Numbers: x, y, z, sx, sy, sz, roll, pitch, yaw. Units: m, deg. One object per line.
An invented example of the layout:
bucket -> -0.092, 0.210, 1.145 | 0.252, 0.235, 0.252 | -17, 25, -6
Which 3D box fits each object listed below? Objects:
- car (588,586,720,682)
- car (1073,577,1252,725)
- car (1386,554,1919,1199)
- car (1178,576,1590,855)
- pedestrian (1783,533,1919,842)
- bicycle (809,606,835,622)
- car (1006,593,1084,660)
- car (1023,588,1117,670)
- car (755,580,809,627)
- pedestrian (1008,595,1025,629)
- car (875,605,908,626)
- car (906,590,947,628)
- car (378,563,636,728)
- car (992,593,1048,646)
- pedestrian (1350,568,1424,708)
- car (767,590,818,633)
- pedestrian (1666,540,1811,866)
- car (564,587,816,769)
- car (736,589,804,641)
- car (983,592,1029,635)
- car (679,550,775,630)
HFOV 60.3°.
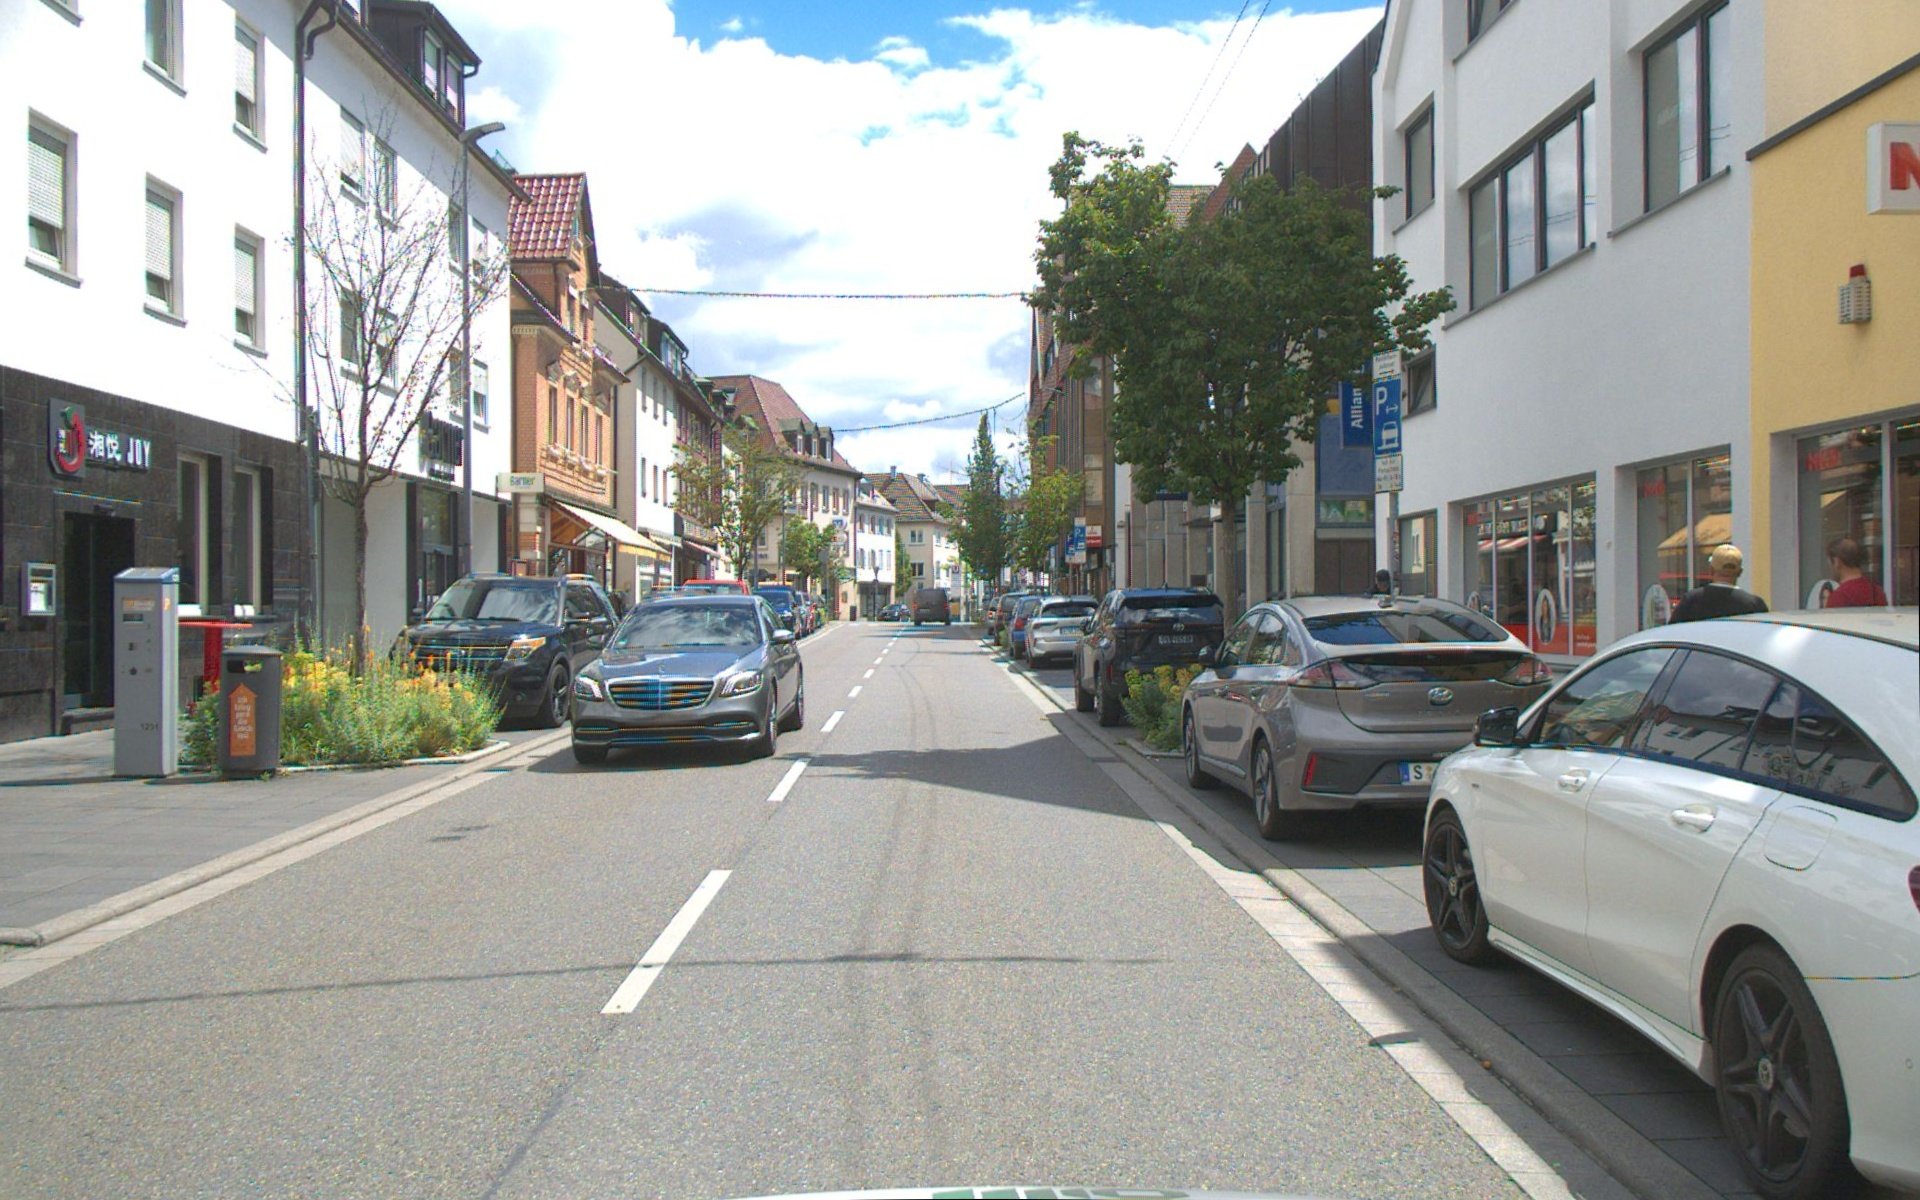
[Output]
car -> -6.095, 0.663, 33.464 | 1.779, 1.786, 4.463 | 1, -1, 0
car -> 2.385, 0.592, 20.384 | 1.686, 1.604, 4.109 | 1, -1, 0
car -> 2.869, 0.689, 5.541 | 1.597, 1.502, 4.957 | 1, -1, 0
car -> 2.627, 0.661, 11.290 | 1.686, 1.502, 4.353 | 1, -1, 0
pedestrian -> 5.598, 0.536, 10.363 | 0.576, 1.873, 0.576 | 1, -1, -1
bicycle -> -9.124, 0.916, 109.648 | 1.597, 1.049, 0.568 | 1, -1, 14
car -> 2.035, 0.629, 40.439 | 1.686, 1.520, 4.109 | 1, -1, 0
car -> 2.263, 0.600, 35.028 | 1.686, 1.604, 4.428 | 1, -1, 0
car -> -6.348, 0.119, 59.235 | 1.764, 1.632, 4.347 | 0, 0, -4
pedestrian -> 2.764, 0.581, 80.913 | 0.768, 1.644, 0.799 | 1, -1, -1
car -> -5.060, 1.147, 122.614 | 1.590, 1.512, 3.808 | 1, -1, 10
car -> -1.792, 0.488, 87.241 | 2.000, 1.881, 4.996 | 1, -1, -3
car -> -5.451, 0.529, 20.571 | 1.778, 1.786, 4.669 | 1, -1, 1
car -> 1.835, 0.573, 51.095 | 1.576, 1.559, 3.795 | -1, 0, 0
pedestrian -> 5.515, 0.488, 21.388 | 0.726, 1.767, 0.757 | 1, -1, -1
car -> -6.533, 0.438, 64.951 | 1.763, 1.632, 4.216 | 0, 0, -3
pedestrian -> 4.626, 0.600, 9.855 | 0.576, 1.873, 0.576 | 1, -1, -1
car -> -2.581, 0.669, 16.927 | 1.866, 1.591, 4.645 | 0, 0, -1
car -> -6.143, 0.454, 53.937 | 1.763, 1.626, 4.388 | 0, 0, -1
car -> 1.726, 0.494, 63.328 | 1.577, 1.521, 3.795 | -4, 0, 0
car -> -5.959, -0.224, 42.771 | 1.779, 1.922, 4.840 | 1, -1, 0
